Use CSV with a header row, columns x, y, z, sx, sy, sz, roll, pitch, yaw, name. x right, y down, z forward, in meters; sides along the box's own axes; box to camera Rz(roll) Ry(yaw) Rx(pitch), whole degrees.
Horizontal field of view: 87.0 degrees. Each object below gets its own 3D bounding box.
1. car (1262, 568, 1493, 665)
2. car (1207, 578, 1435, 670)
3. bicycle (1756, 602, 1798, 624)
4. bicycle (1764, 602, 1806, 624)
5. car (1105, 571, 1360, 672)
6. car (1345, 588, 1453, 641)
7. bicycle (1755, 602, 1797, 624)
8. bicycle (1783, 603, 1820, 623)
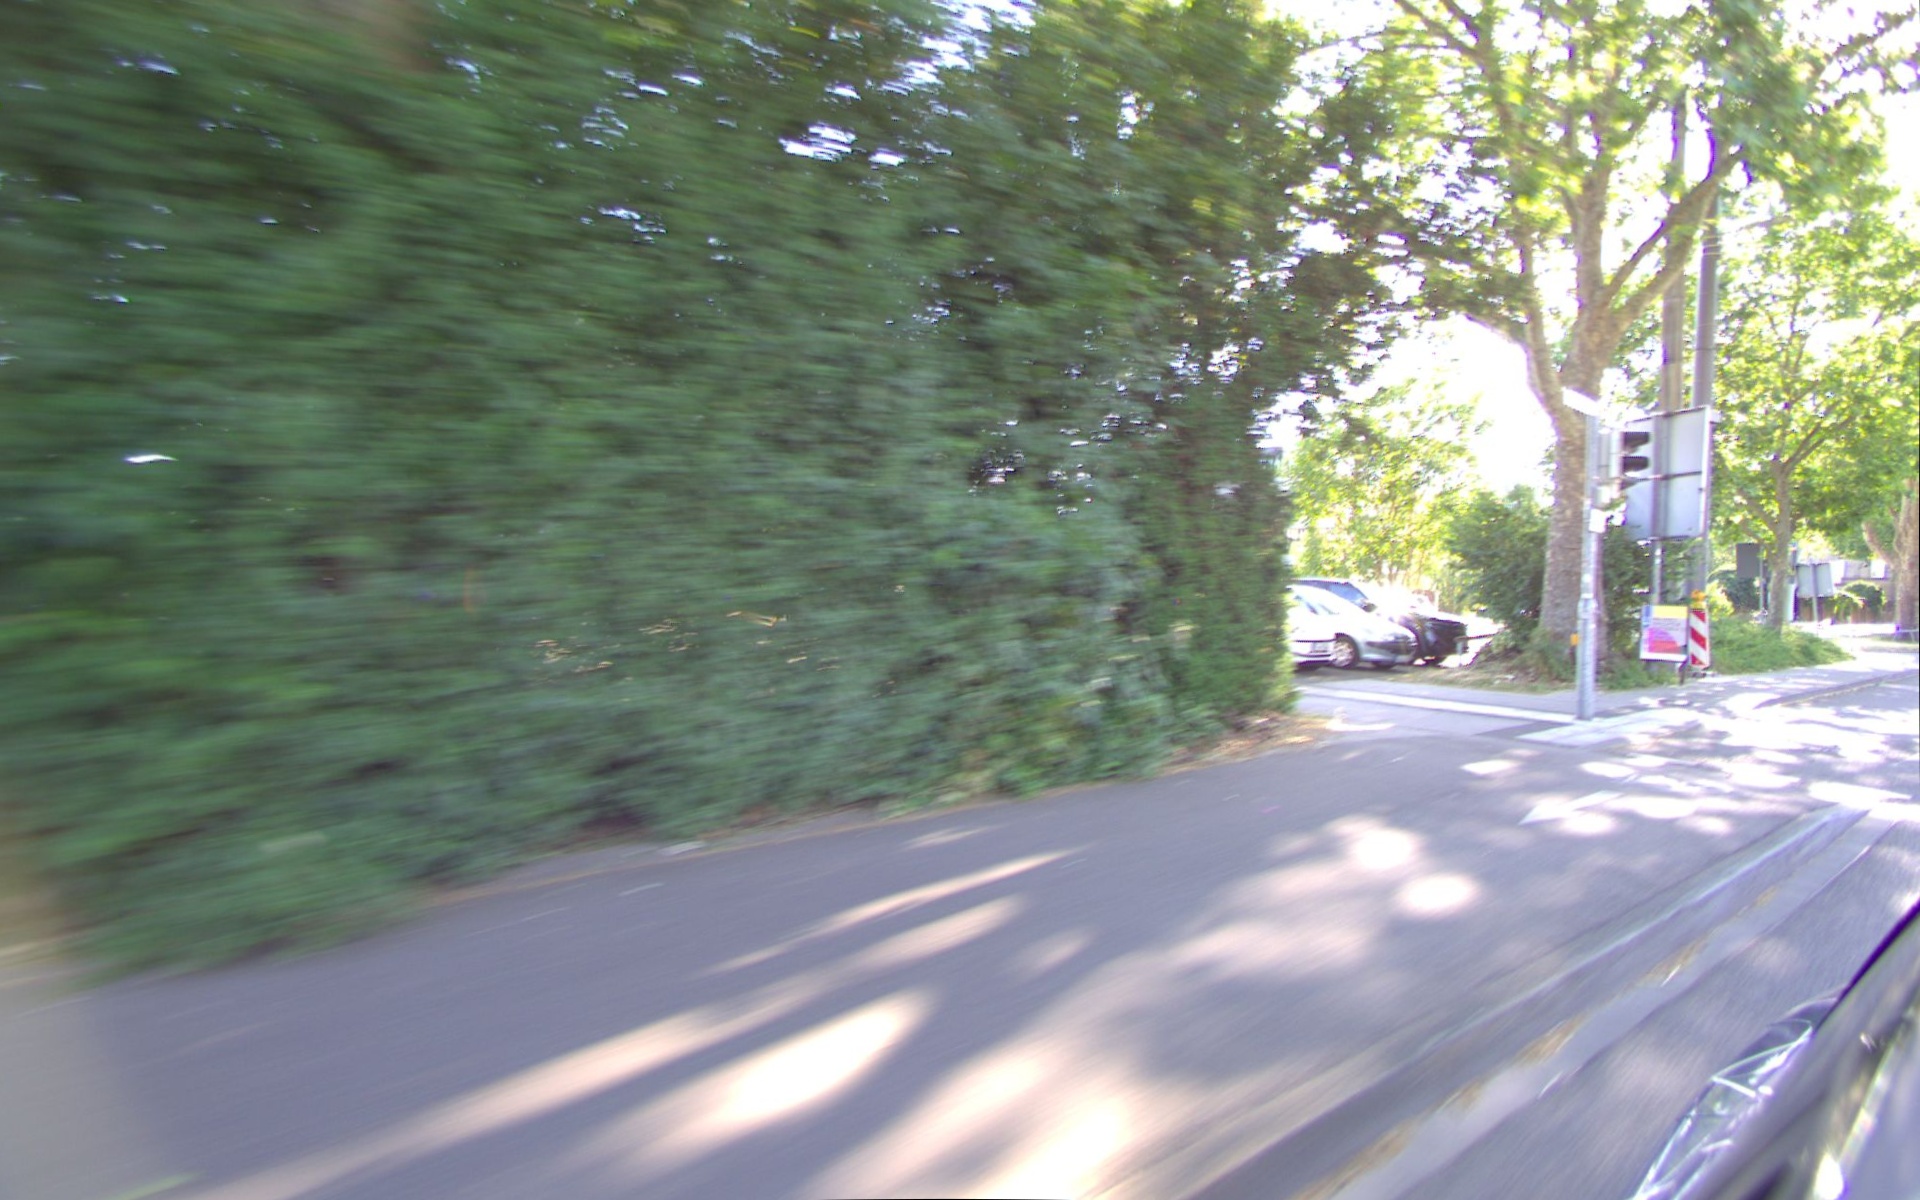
x,y,z,sx,sy,sz,roll,pitch,yaw,name
8.468,0.260,20.778,1.800,1.786,3.996,1,1,-39,car
6.526,0.367,18.566,1.648,1.480,3.603,1,1,-39,car
45.306,0.728,56.147,1.773,1.134,0.432,4,2,43,bicycle
47.612,0.750,58.434,0.432,1.134,1.777,1,2,-41,bicycle
4.589,0.287,17.483,1.854,1.523,3.895,1,1,-39,car
13.717,0.420,31.527,3.736,1.534,1.617,1,1,-41,car
46.694,0.725,57.931,0.432,1.134,1.777,1,2,-41,bicycle
51.440,0.794,61.874,0.432,1.134,1.691,1,2,-41,bicycle
